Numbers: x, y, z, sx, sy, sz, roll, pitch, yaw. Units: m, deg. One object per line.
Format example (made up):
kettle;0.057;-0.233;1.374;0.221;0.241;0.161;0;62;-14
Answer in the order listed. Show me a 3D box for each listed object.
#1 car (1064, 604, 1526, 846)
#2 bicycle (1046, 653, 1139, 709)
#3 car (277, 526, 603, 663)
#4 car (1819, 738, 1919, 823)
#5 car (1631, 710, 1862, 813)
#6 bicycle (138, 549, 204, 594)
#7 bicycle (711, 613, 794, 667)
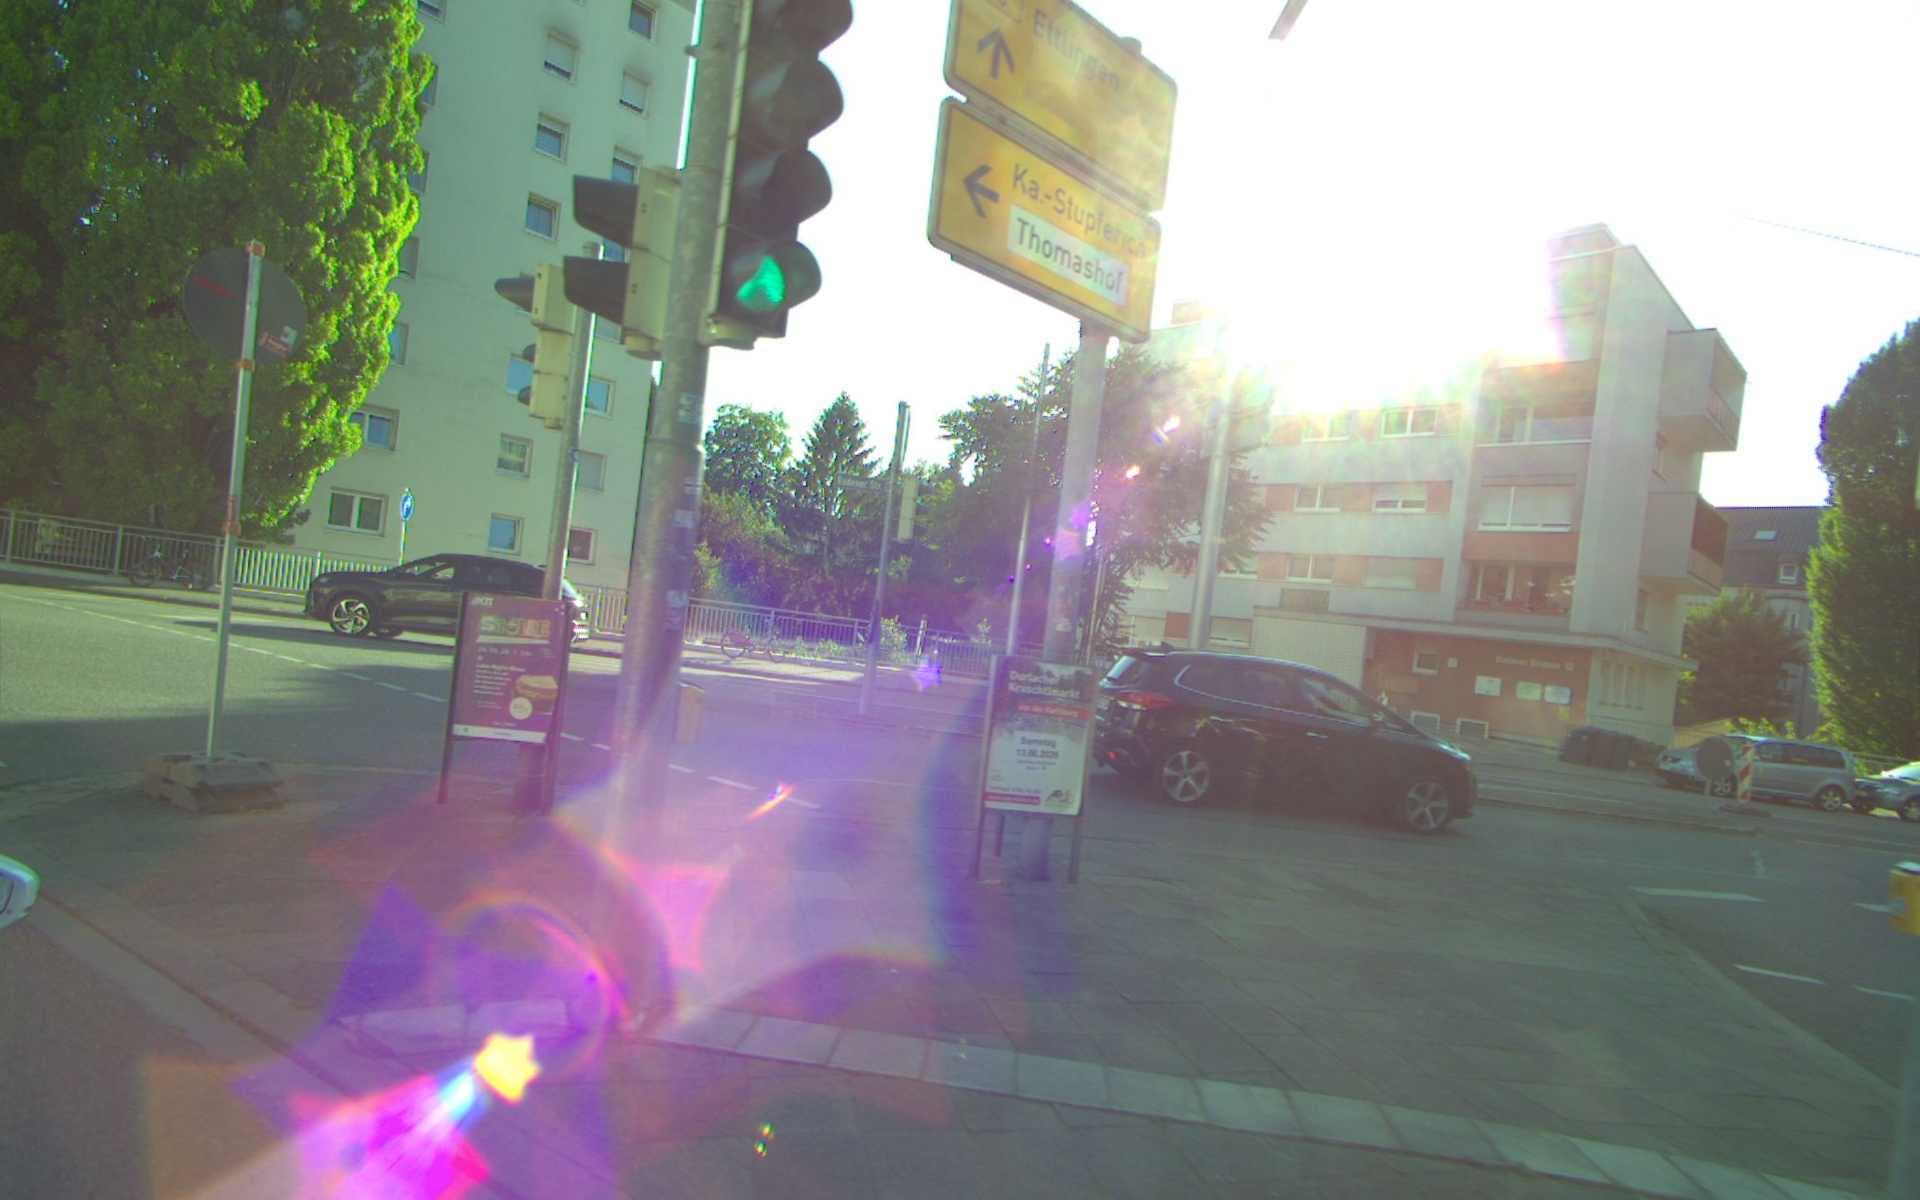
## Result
car;3.499;1.287;11.056;4.178;1.839;1.996;8;2;-6
bicycle;3.588;2.197;27.207;2.302;1.191;0.709;9;-2;-19
car;-8.987;-0.005;17.845;4.589;1.687;1.999;8;-4;-12
car;24.892;4.793;25.606;4.151;1.800;2.002;8;-2;1
car;20.012;4.076;25.738;4.151;1.800;2.002;8;-2;1
bicycle;-18.531;-0.648;23.650;0.402;0.913;1.290;8;-2;1
bicycle;-5.259;1.014;25.526;1.895;1.080;0.614;9;-2;-17
